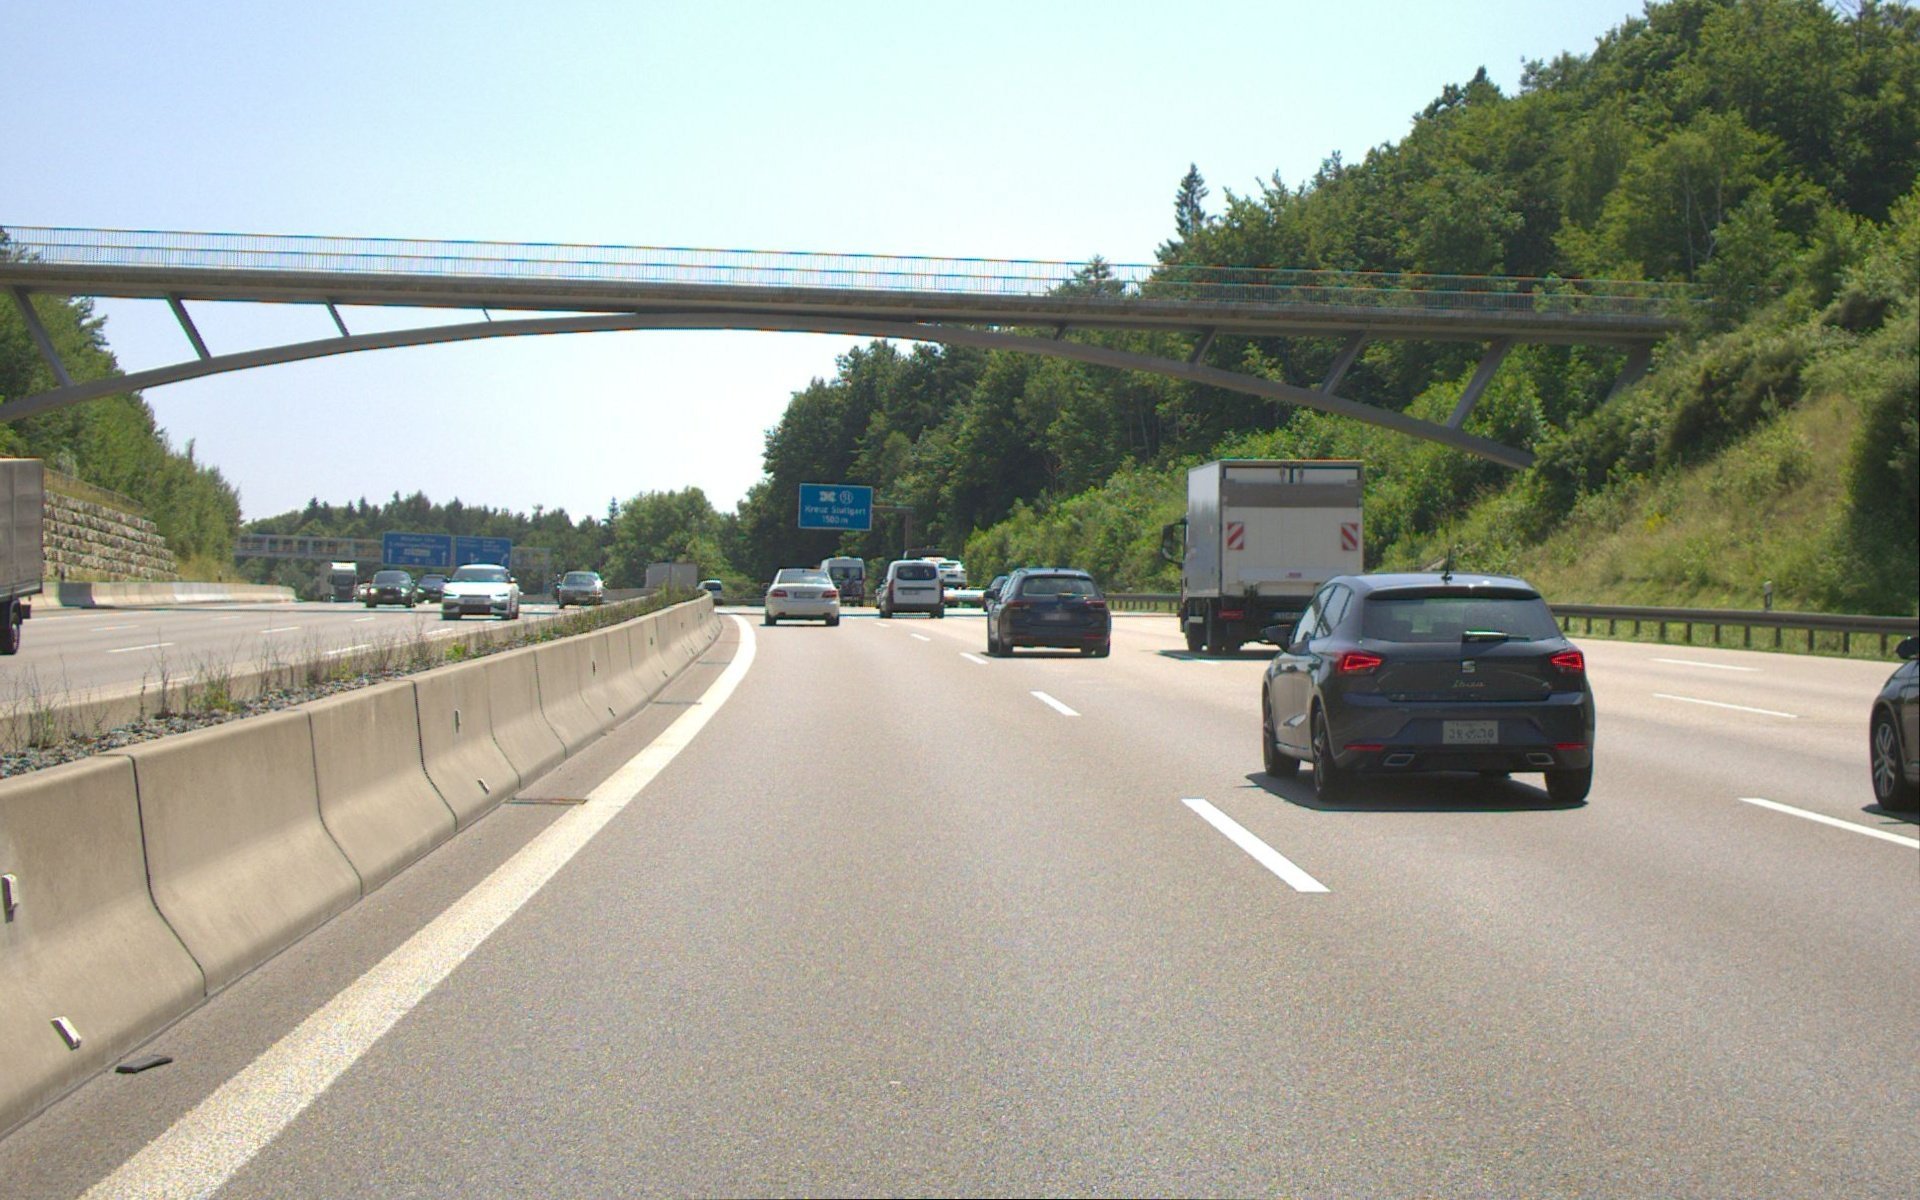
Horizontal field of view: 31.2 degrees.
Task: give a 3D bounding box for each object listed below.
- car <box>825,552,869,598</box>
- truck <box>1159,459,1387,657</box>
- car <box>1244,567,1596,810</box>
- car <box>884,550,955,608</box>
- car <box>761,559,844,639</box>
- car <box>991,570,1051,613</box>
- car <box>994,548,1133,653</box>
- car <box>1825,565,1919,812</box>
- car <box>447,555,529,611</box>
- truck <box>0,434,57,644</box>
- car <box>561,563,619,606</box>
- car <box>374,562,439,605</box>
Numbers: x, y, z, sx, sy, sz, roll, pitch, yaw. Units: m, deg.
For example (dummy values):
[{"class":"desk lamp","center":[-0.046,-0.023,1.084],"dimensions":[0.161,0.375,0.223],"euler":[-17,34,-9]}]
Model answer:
[{"class":"car","center":[-5.928,-1.281,180.151],"dimensions":[2.265,2.363,4.702],"euler":[0,0,-2]},{"class":"truck","center":[5.248,-0.730,59.039],"dimensions":[2.985,3.156,7.575],"euler":[1,1,-2]},{"class":"car","center":[2.935,0.514,22.683],"dimensions":[1.708,1.428,4.000],"euler":[1,1,-1]},{"class":"car","center":[-1.286,-0.669,107.559],"dimensions":[2.103,1.738,4.688],"euler":[1,1,-2]},{"class":"car","center":[-4.078,0.001,88.575],"dimensions":[2.012,1.839,4.000],"euler":[1,-2,-4]},{"class":"car","center":[2.368,-0.331,133.996],"dimensions":[1.993,1.587,4.000],"euler":[2,0,-3]},{"class":"car","center":[1.659,-0.025,56.826],"dimensions":[1.993,1.628,4.760],"euler":[1,1,-2]},{"class":"car","center":[6.364,0.533,19.331],"dimensions":[1.665,1.403,4.903],"euler":[1,1,-1]},{"class":"car","center":[-13.255,-0.508,96.813],"dimensions":[1.900,1.491,4.806],"euler":[0,1,-3]},{"class":"truck","center":[-15.506,-0.951,51.803],"dimensions":[2.276,3.132,6.920],"euler":[2,1,-3]},{"class":"car","center":[-14.493,-0.620,134.708],"dimensions":[1.993,1.612,4.000],"euler":[0,1,-2]},{"class":"car","center":[-21.212,-0.654,131.829],"dimensions":[1.993,1.612,4.000],"euler":[0,1,-2]}]
